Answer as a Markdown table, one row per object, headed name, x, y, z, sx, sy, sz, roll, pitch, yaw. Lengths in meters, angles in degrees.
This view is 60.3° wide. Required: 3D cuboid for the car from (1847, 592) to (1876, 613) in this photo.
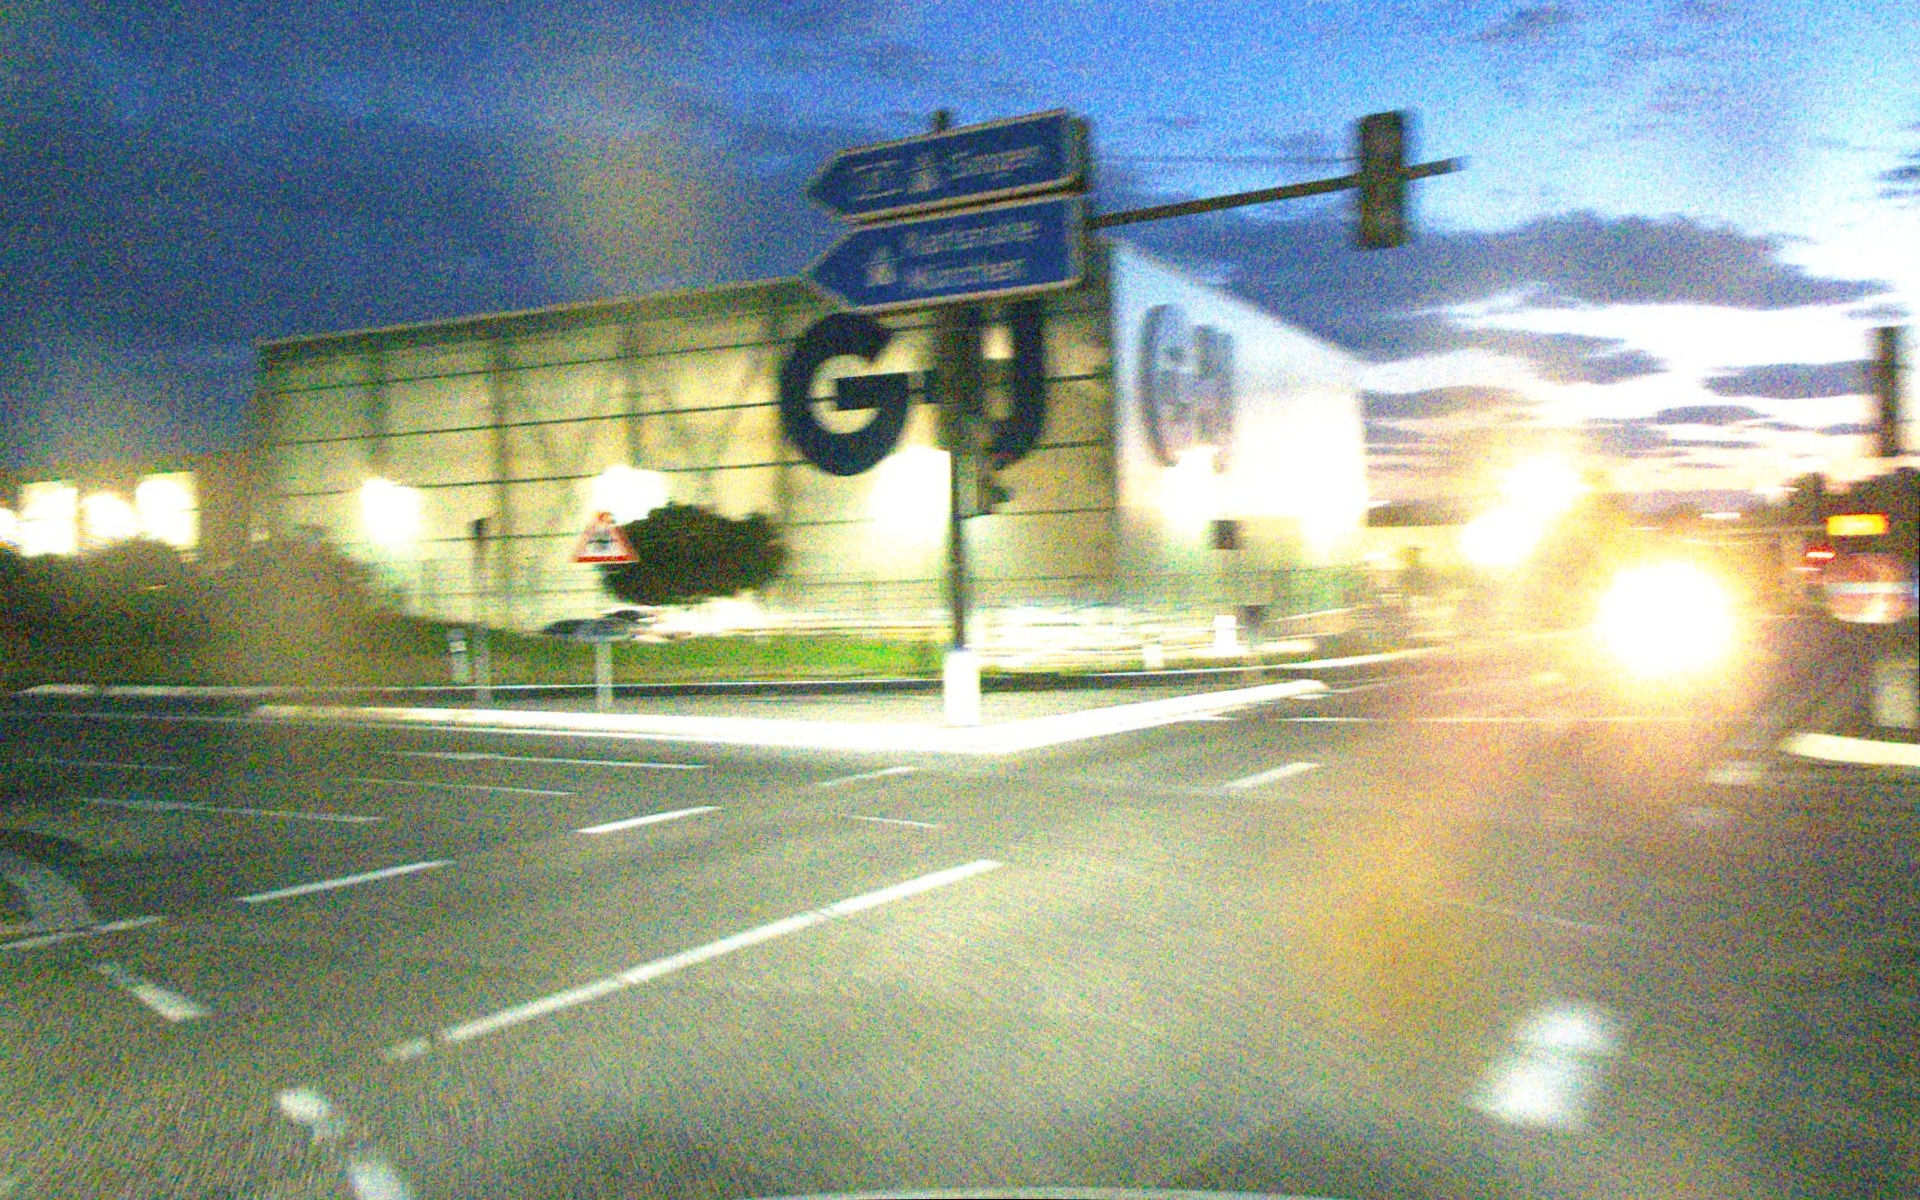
| name | x | y | z | sx | sy | sz | roll | pitch | yaw |
| --- | --- | --- | --- | --- | --- | --- | --- | --- | --- |
| car | 77.507 | 0.203 | 142.240 | 1.896 | 1.674 | 3.998 | -2 | 1 | 25 |
